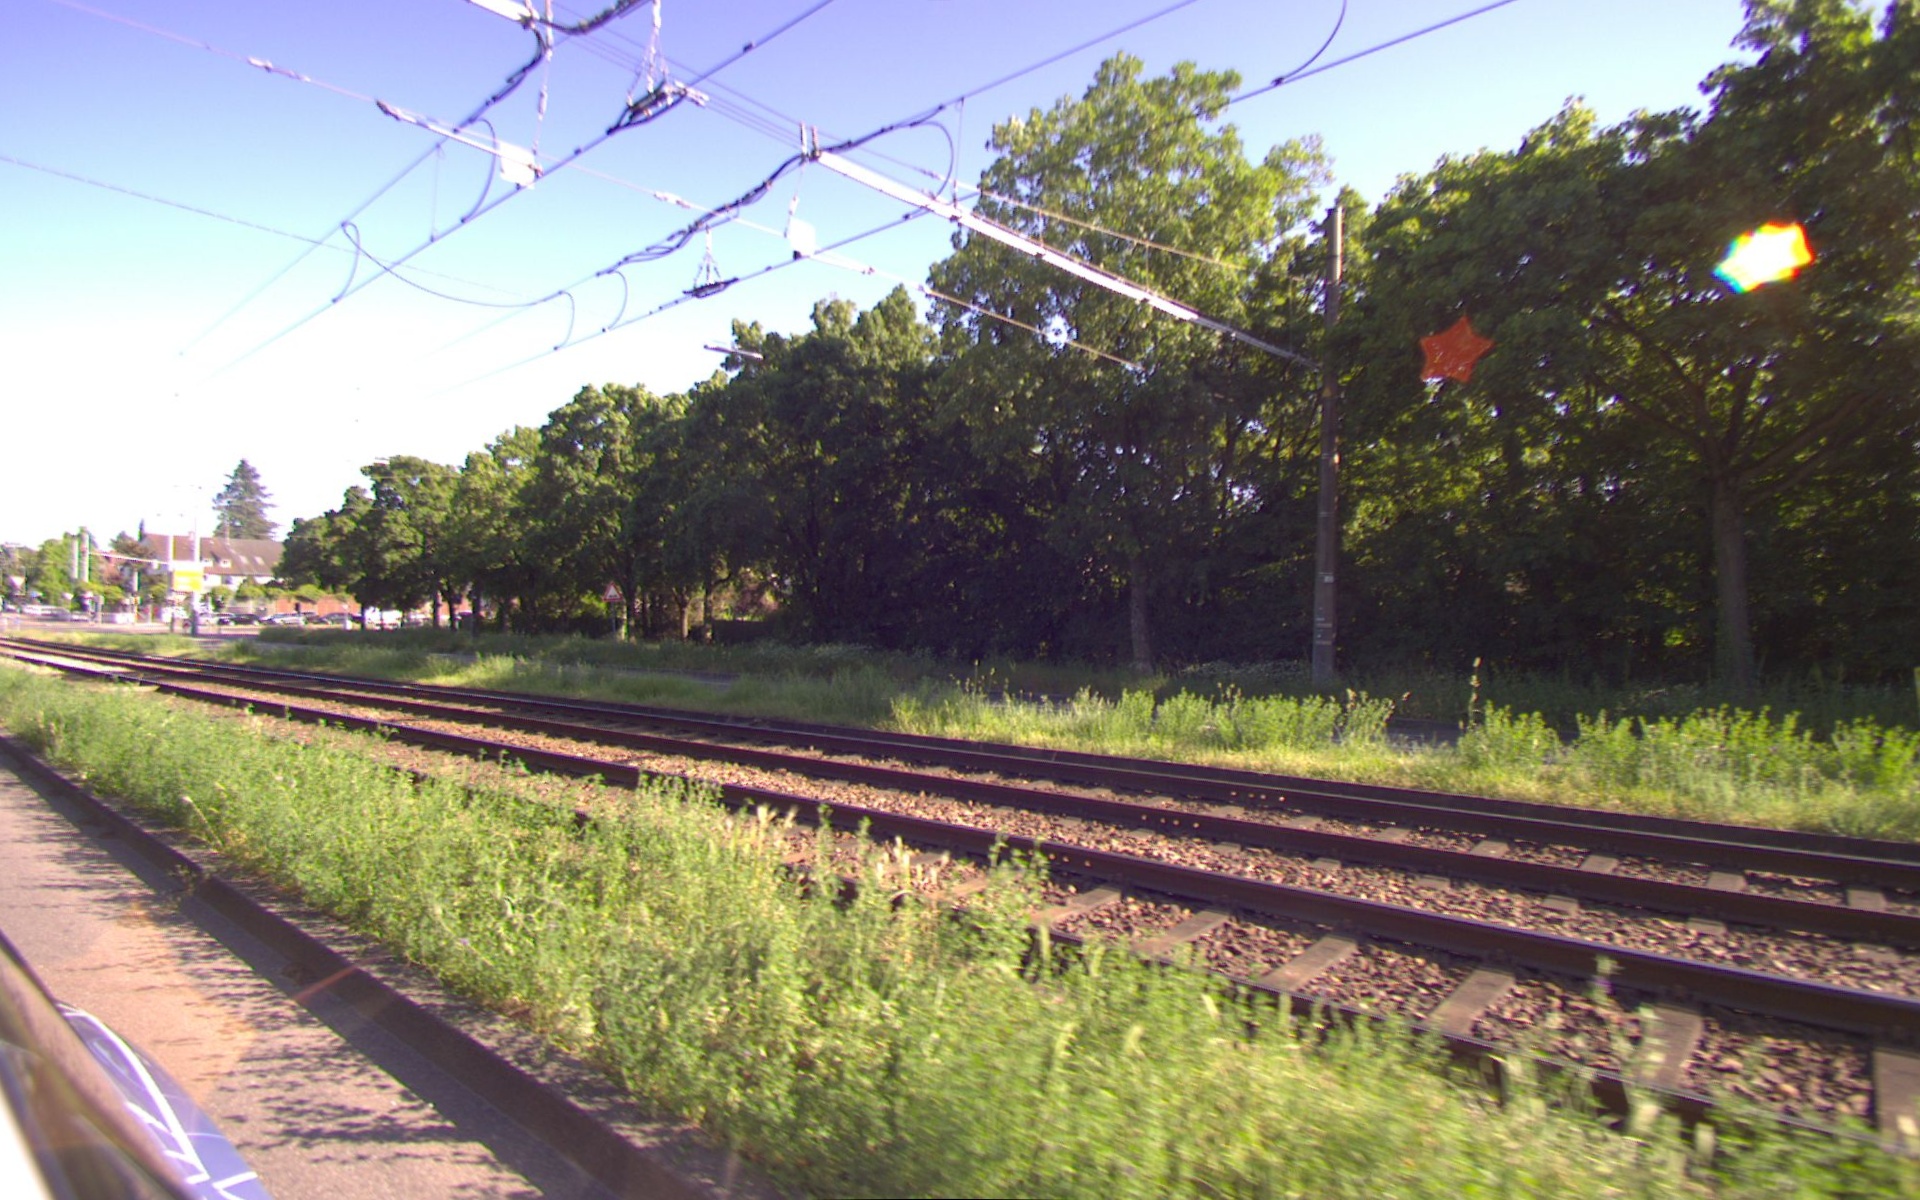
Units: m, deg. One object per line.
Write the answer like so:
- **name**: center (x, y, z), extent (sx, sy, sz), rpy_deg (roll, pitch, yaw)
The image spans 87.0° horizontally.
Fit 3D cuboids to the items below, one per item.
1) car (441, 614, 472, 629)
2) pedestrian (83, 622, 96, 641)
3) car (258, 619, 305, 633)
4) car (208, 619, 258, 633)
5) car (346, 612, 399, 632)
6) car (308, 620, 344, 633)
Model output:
- **car**: center (-70.780, 3.013, 142.308), extent (1.791, 2.029, 3.982), rpy_deg (1, -1, 14)
- **pedestrian**: center (-91.519, 3.331, 106.365), extent (0.765, 1.963, 0.611), rpy_deg (0, -1, 0)
- **car**: center (-78.314, 3.002, 116.859), extent (1.920, 1.477, 4.238), rpy_deg (-1, -1, 15)
- **car**: center (-80.159, 2.871, 111.632), extent (1.920, 1.477, 4.227), rpy_deg (0, -1, 15)
- **car**: center (-74.526, 2.730, 128.534), extent (2.163, 2.429, 5.888), rpy_deg (1, -1, 17)
- **car**: center (-76.418, 3.176, 122.051), extent (1.485, 1.579, 3.507), rpy_deg (0, -1, 17)
